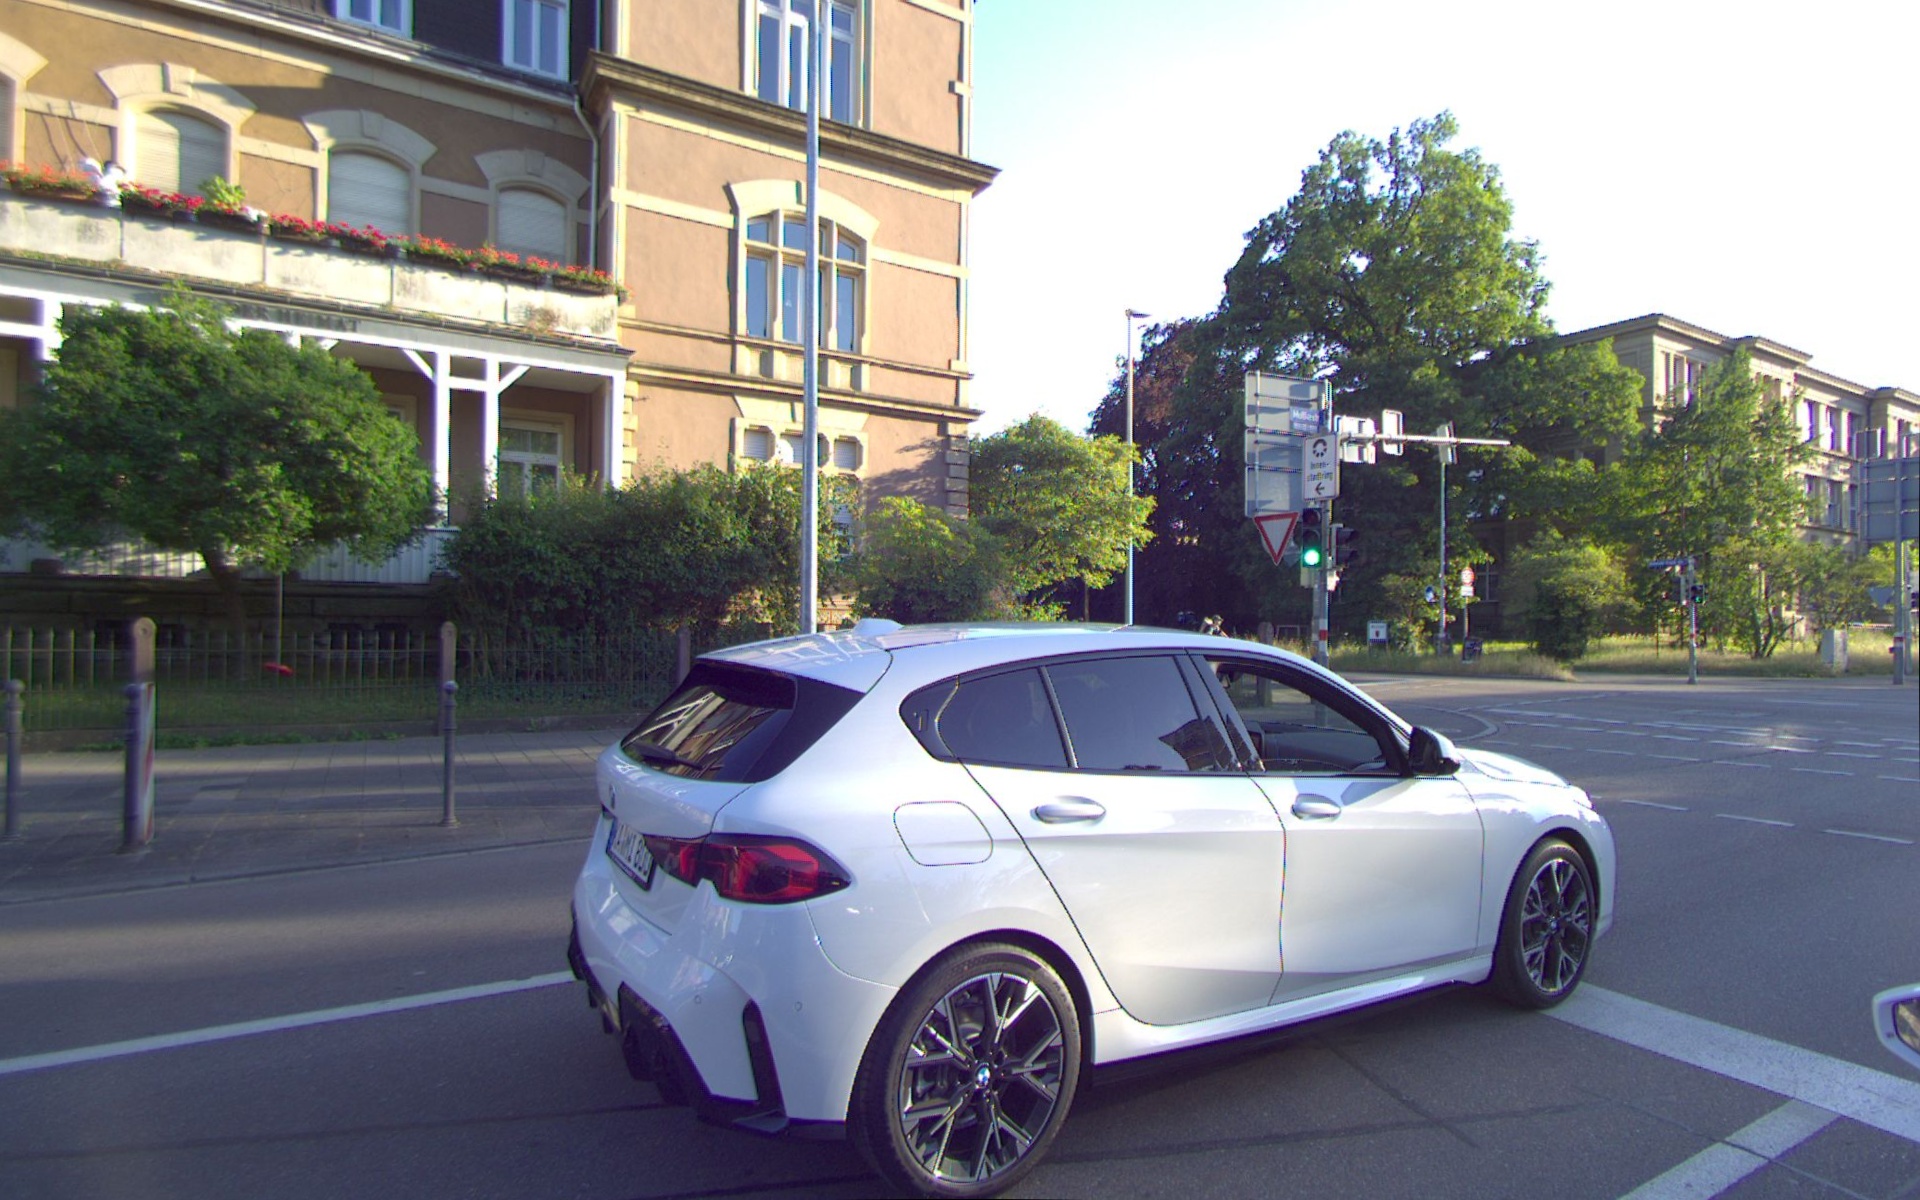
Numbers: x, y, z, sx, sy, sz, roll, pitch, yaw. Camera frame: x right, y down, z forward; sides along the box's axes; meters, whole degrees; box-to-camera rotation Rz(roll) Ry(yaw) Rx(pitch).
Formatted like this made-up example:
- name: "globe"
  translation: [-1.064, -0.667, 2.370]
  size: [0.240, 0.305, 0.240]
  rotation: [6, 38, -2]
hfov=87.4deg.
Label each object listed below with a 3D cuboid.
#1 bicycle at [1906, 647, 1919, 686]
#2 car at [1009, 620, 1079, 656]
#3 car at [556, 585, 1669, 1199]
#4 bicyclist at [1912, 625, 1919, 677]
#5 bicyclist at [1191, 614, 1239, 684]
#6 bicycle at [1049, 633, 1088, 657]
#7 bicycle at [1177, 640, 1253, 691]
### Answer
- name: "bicycle"
  translation: [28.856, 1.960, 29.719]
  size: [2.143, 1.138, 0.683]
  rotation: [1, -2, -31]
- name: "car"
  translation: [4.575, 2.046, 55.099]
  size: [1.841, 1.870, 4.087]
  rotation: [1, -2, -31]
- name: "car"
  translation: [0.783, 0.776, 3.902]
  size: [4.141, 1.485, 1.743]
  rotation: [2, -2, -32]
- name: "bicyclist"
  translation: [28.742, 1.519, 29.663]
  size: [0.944, 1.532, 0.680]
  rotation: [1, -1, -30]
- name: "bicyclist"
  translation: [6.244, 1.192, 24.624]
  size: [0.645, 1.654, 0.907]
  rotation: [2, 0, -31]
- name: "bicycle"
  translation: [5.640, 2.353, 52.196]
  size: [1.852, 1.171, 0.748]
  rotation: [2, 0, -26]
- name: "bicycle"
  translation: [6.234, 1.583, 24.631]
  size: [0.653, 1.104, 1.887]
  rotation: [1, 0, -30]
